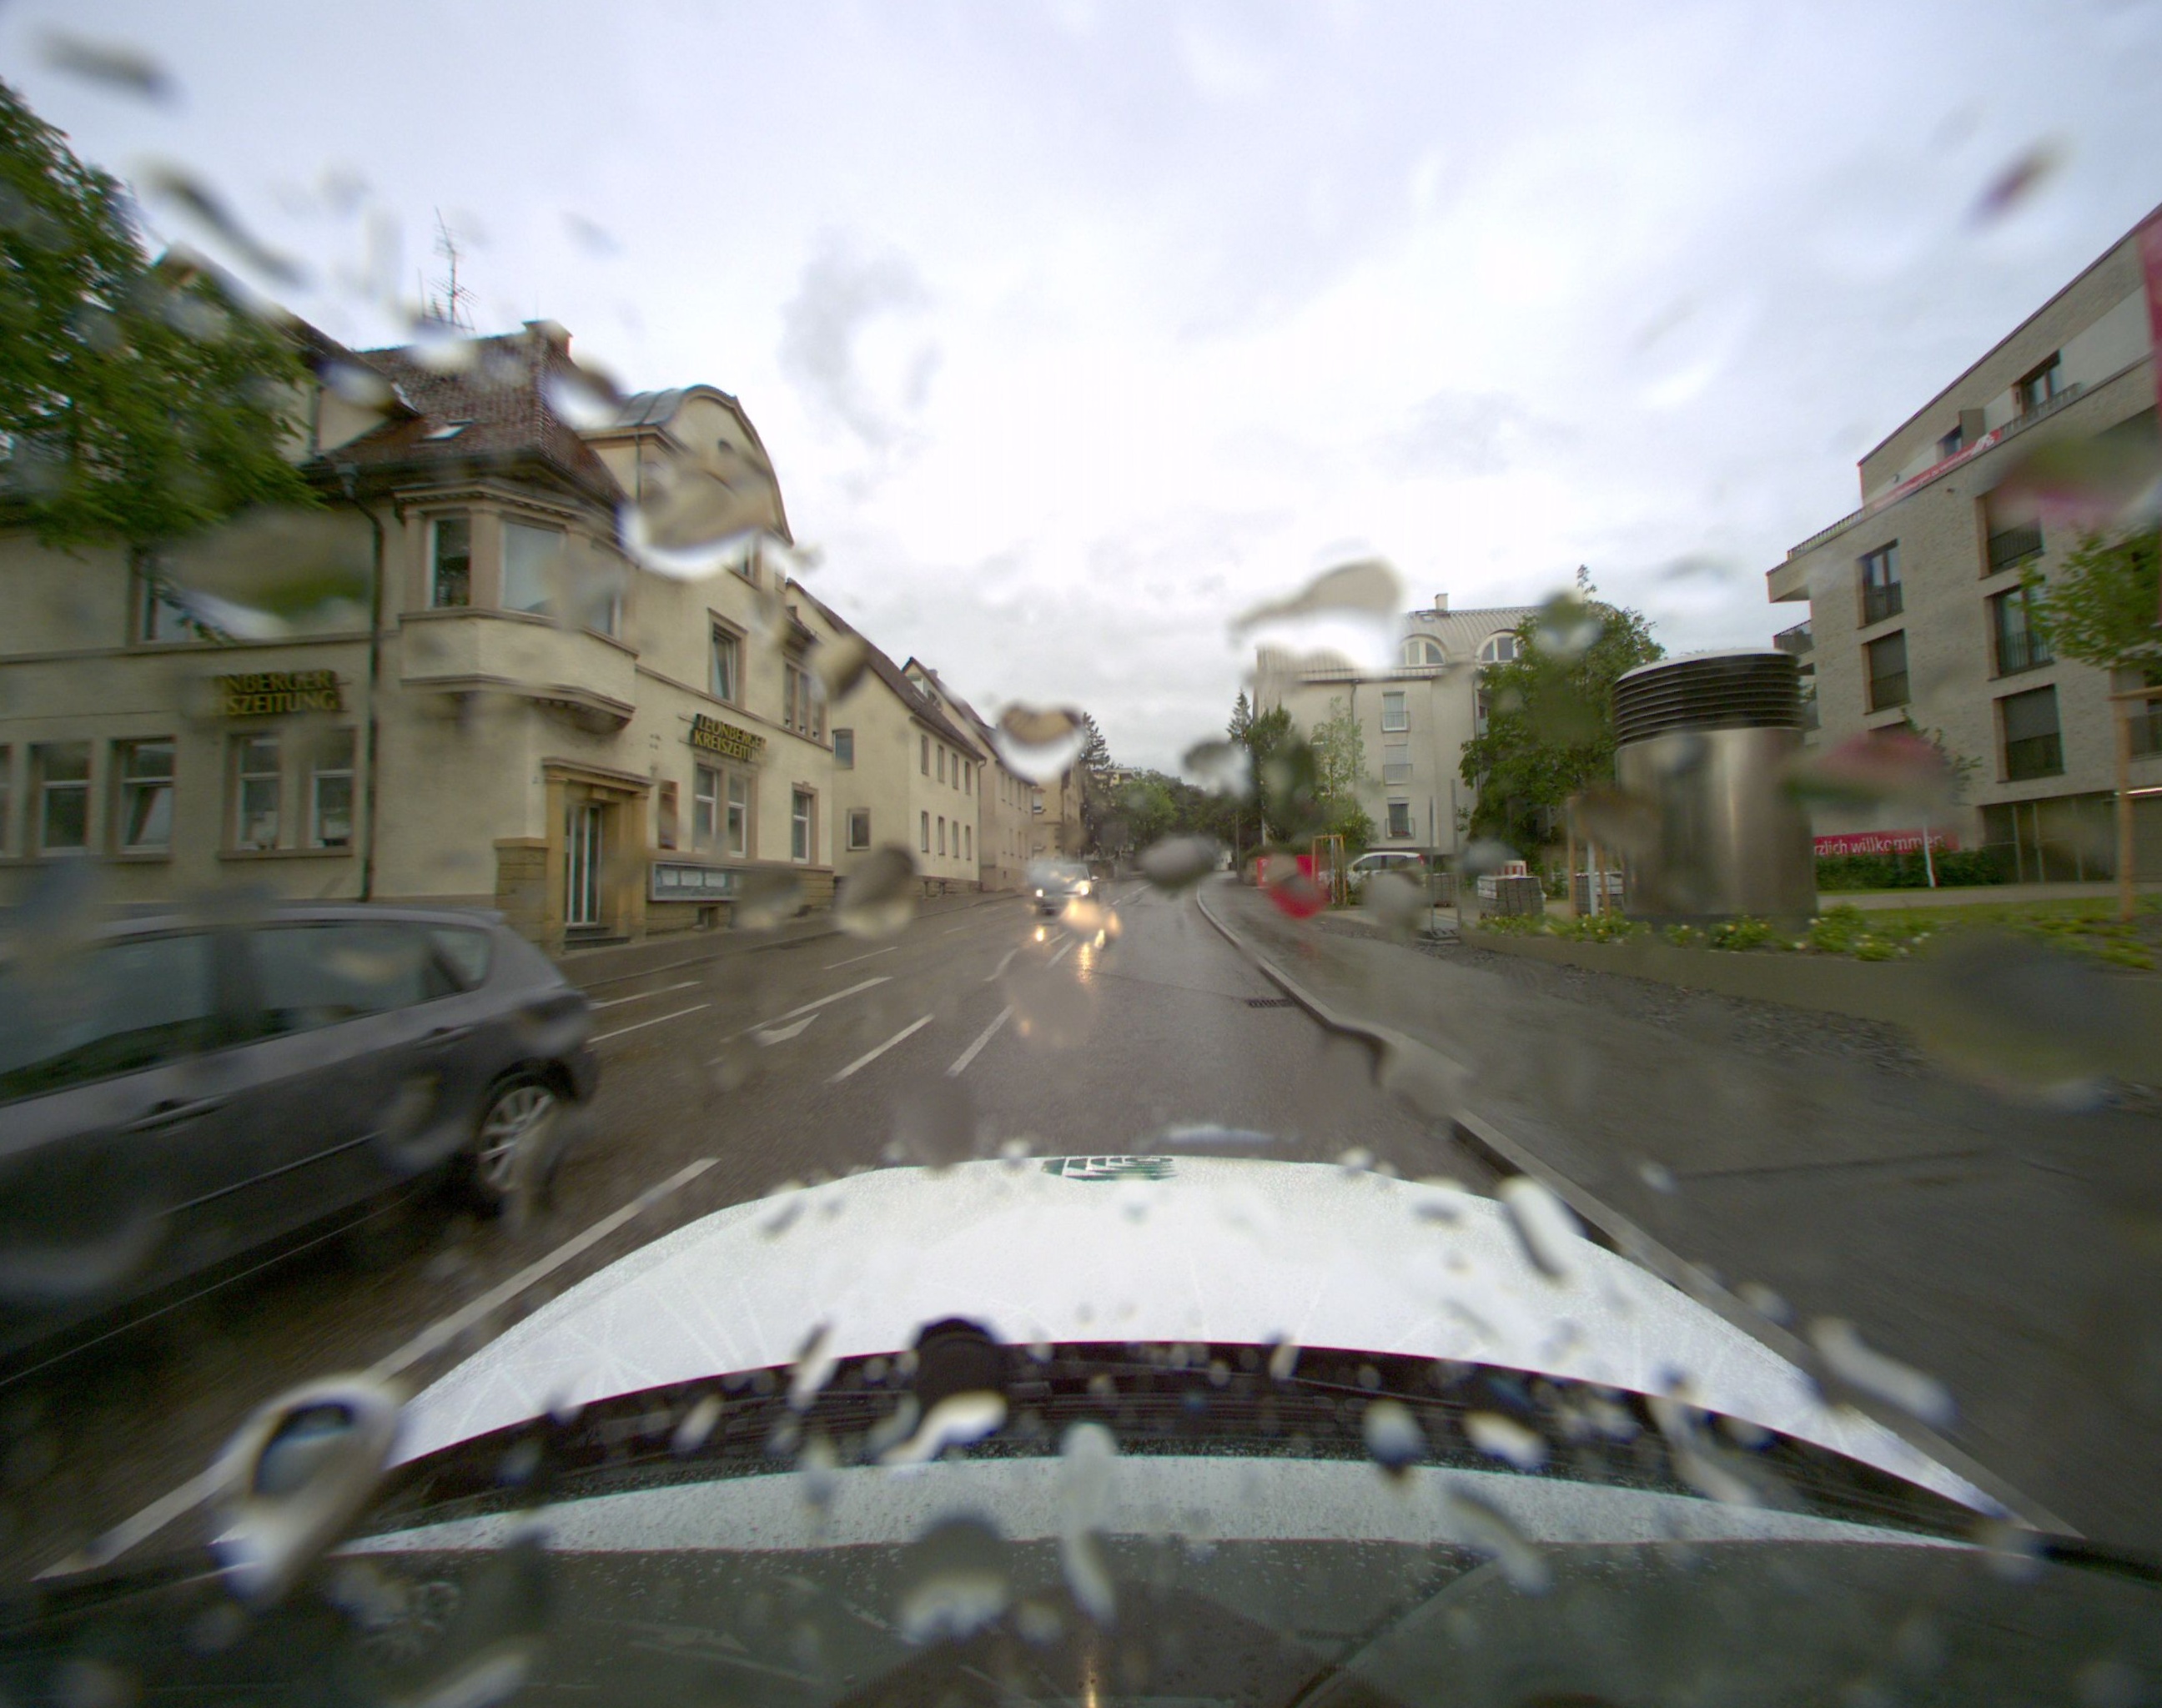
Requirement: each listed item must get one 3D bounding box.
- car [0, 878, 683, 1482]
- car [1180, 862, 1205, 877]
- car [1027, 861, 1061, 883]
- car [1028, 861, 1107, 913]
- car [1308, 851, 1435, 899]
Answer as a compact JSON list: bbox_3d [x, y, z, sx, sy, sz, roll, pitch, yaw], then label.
[{"bbox_3d":[-3.547,0.872,2.566,1.789,1.439,4.699,-1,0,7],"label":"car"},{"bbox_3d":[12.207,1.704,89.233,1.730,1.571,3.833,1,0,22],"label":"car"},{"bbox_3d":[-2.748,1.338,61.264,1.760,1.503,3.893,-1,0,10],"label":"car"},{"bbox_3d":[-0.323,0.977,25.739,1.789,1.439,4.699,-1,0,7],"label":"car"},{"bbox_3d":[9.427,0.668,26.660,3.647,1.503,1.780,0,0,7],"label":"car"}]
